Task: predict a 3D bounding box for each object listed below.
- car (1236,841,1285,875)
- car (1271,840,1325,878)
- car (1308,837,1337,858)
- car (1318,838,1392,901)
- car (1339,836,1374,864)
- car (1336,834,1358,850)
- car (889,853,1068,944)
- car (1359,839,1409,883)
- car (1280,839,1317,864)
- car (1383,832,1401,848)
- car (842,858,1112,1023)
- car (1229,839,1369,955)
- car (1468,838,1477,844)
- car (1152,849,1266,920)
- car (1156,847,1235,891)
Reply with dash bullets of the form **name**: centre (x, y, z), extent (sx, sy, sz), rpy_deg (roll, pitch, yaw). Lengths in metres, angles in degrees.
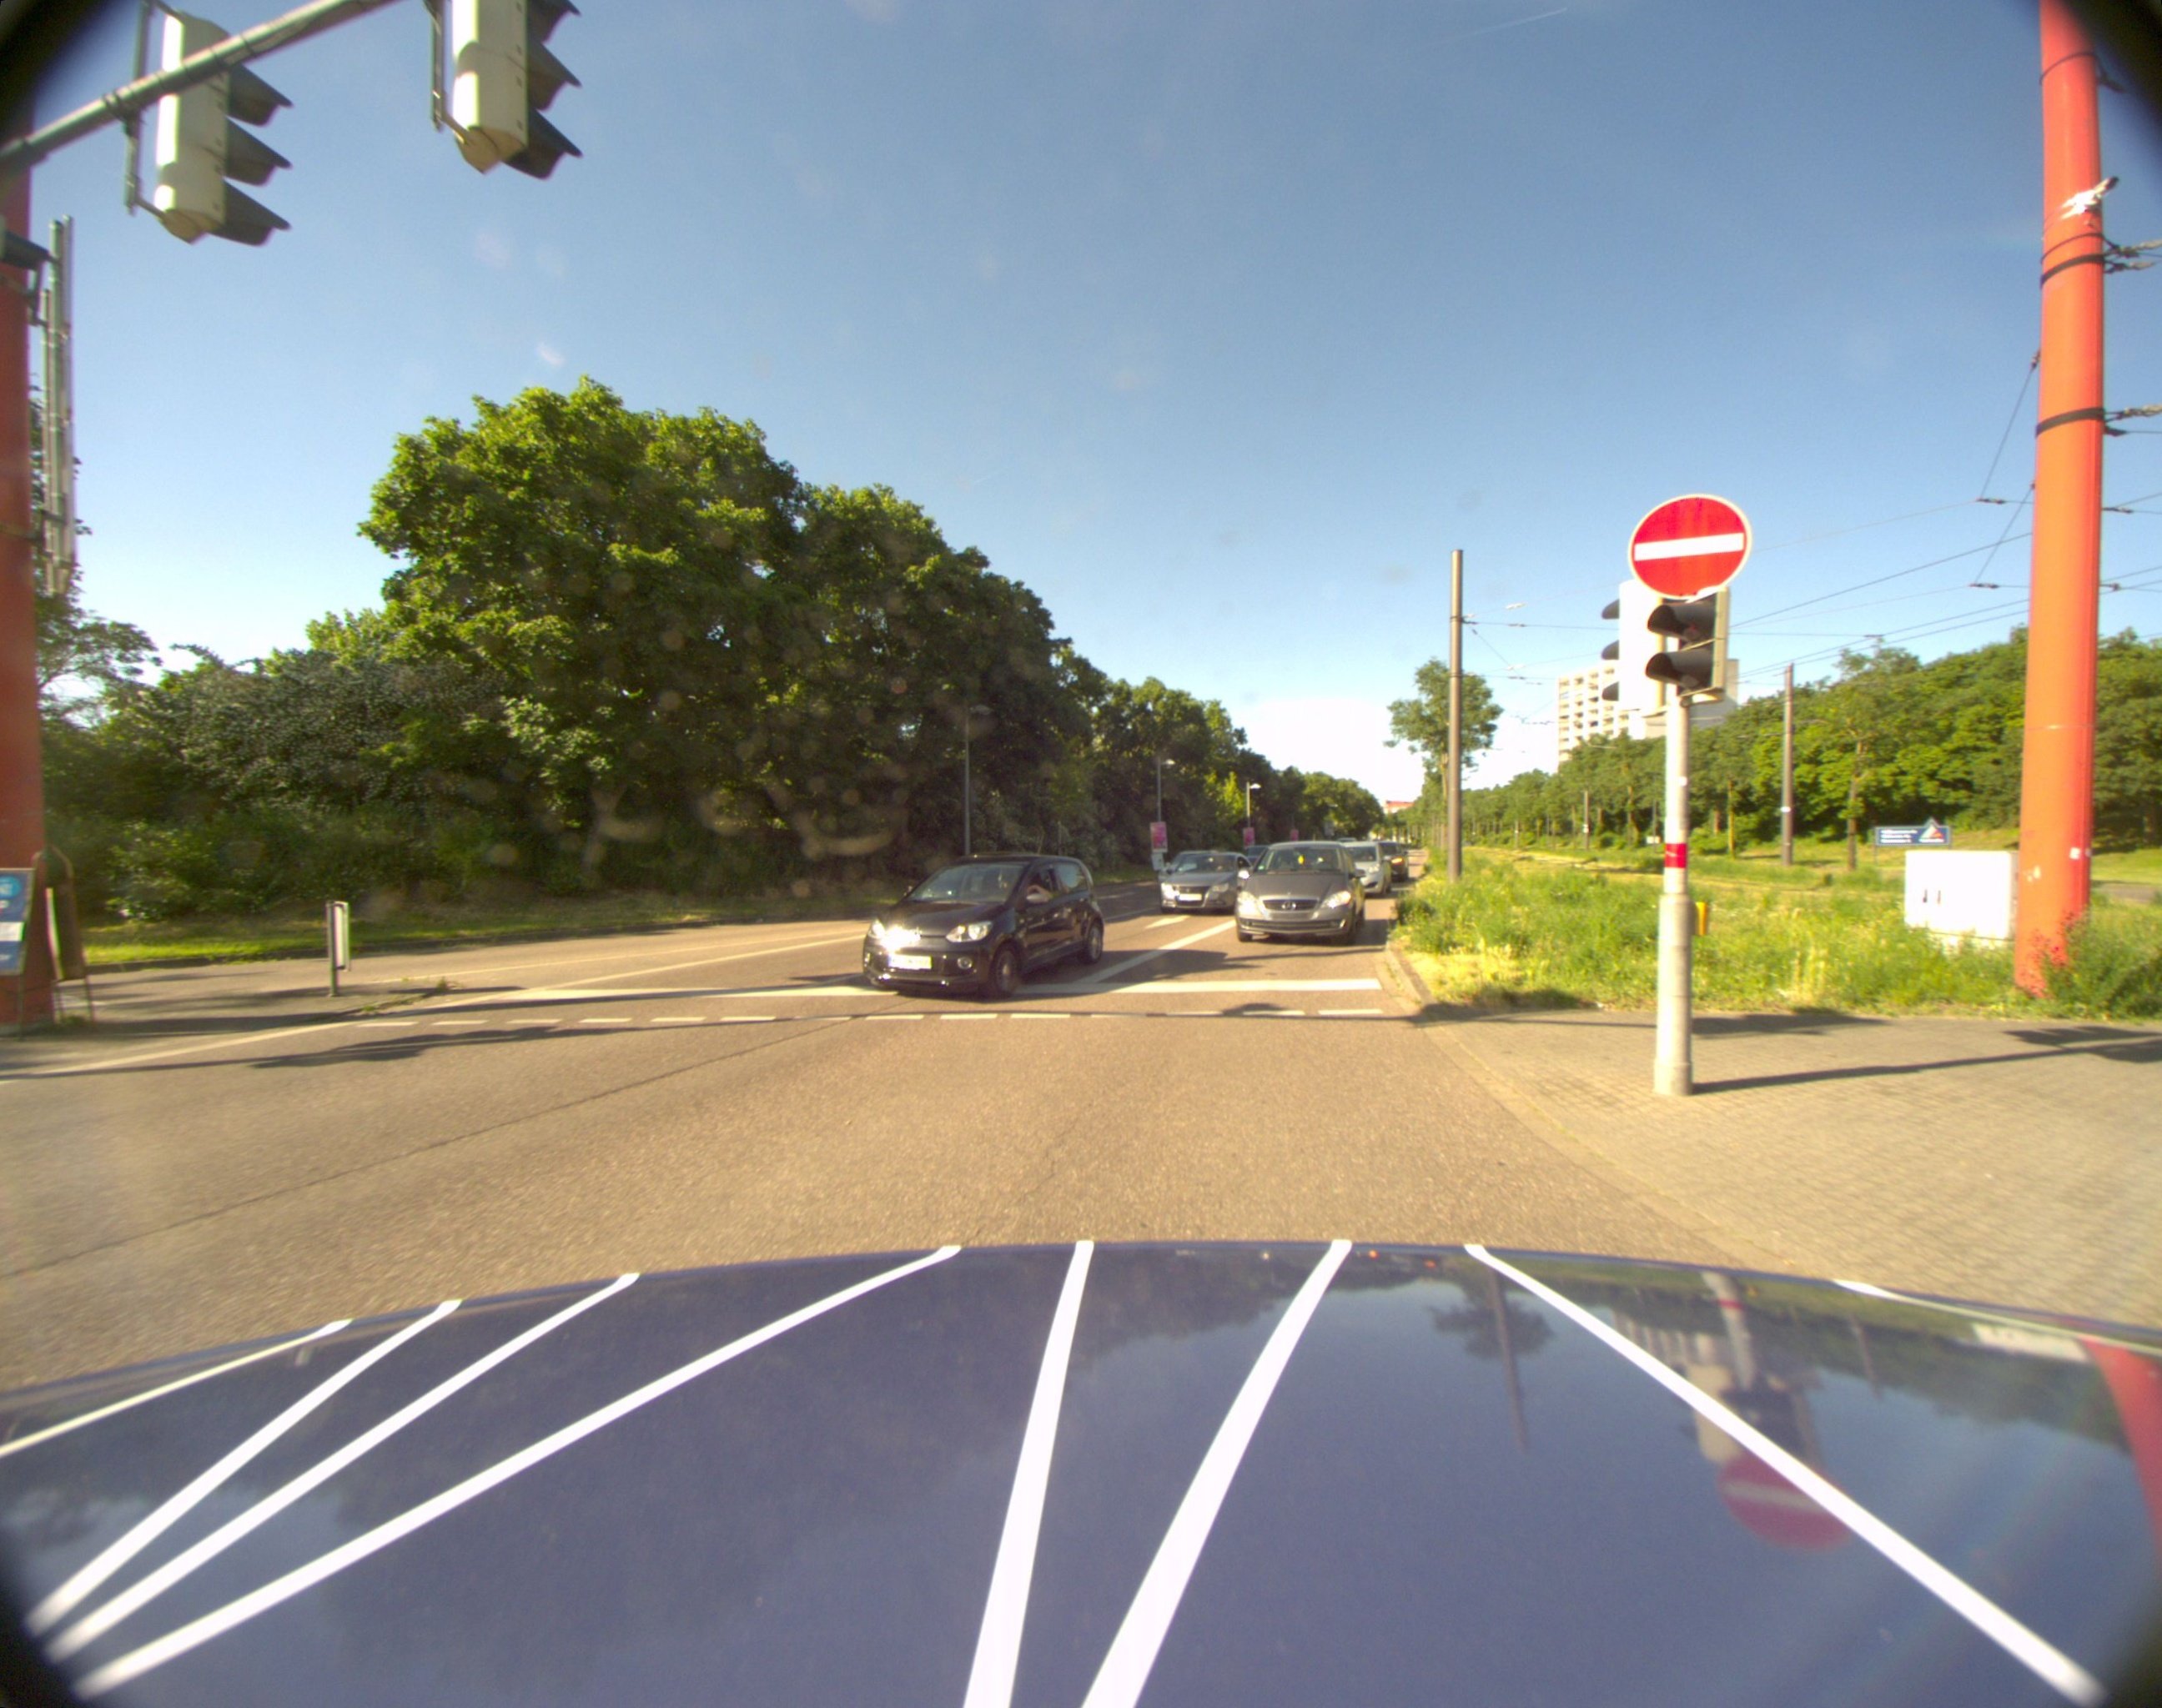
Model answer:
- **car**: centre (9.259, 0.146, 38.964), extent (1.746, 1.652, 4.006), rpy_deg (0, 1, 24)
- **car**: centre (9.234, 0.190, 32.158), extent (1.682, 1.437, 3.732), rpy_deg (-1, 1, 24)
- **car**: centre (18.321, -0.515, 57.504), extent (1.650, 1.521, 3.901), rpy_deg (-1, 1, 24)
- **car**: centre (8.126, 0.393, 22.335), extent (1.746, 1.652, 4.006), rpy_deg (-1, 1, 24)
- **car**: centre (17.254, -0.274, 47.496), extent (1.746, 1.652, 4.006), rpy_deg (-1, 1, 24)
- **car**: centre (26.651, -1.231, 76.137), extent (1.711, 1.485, 3.969), rpy_deg (-1, 1, 24)
- **car**: centre (-1.895, 0.784, 15.364), extent (1.711, 1.485, 3.969), rpy_deg (-1, 1, 24)
- **car**: centre (12.401, 0.233, 30.941), extent (1.746, 1.652, 4.006), rpy_deg (0, 1, 24)
- **car**: centre (13.812, -0.157, 48.146), extent (1.711, 1.485, 3.969), rpy_deg (-1, 1, 24)
- **car**: centre (33.321, -1.526, 81.398), extent (1.691, 1.652, 3.833), rpy_deg (-1, 1, 24)
- **car**: centre (-1.015, 0.841, 9.107), extent (1.619, 1.485, 3.458), rpy_deg (-1, 1, 23)
- **car**: centre (3.835, 0.590, 12.887), extent (1.746, 1.631, 4.006), rpy_deg (-1, 1, 24)
- **car**: centre (91.132, -2.970, 176.746), extent (1.575, 1.412, 3.915), rpy_deg (-1, 1, 24)
- **car**: centre (3.212, 0.645, 18.385), extent (1.711, 1.430, 4.177), rpy_deg (-1, 1, 24)
- **car**: centre (4.360, 0.516, 28.327), extent (1.746, 1.428, 4.393), rpy_deg (-1, 1, 24)
